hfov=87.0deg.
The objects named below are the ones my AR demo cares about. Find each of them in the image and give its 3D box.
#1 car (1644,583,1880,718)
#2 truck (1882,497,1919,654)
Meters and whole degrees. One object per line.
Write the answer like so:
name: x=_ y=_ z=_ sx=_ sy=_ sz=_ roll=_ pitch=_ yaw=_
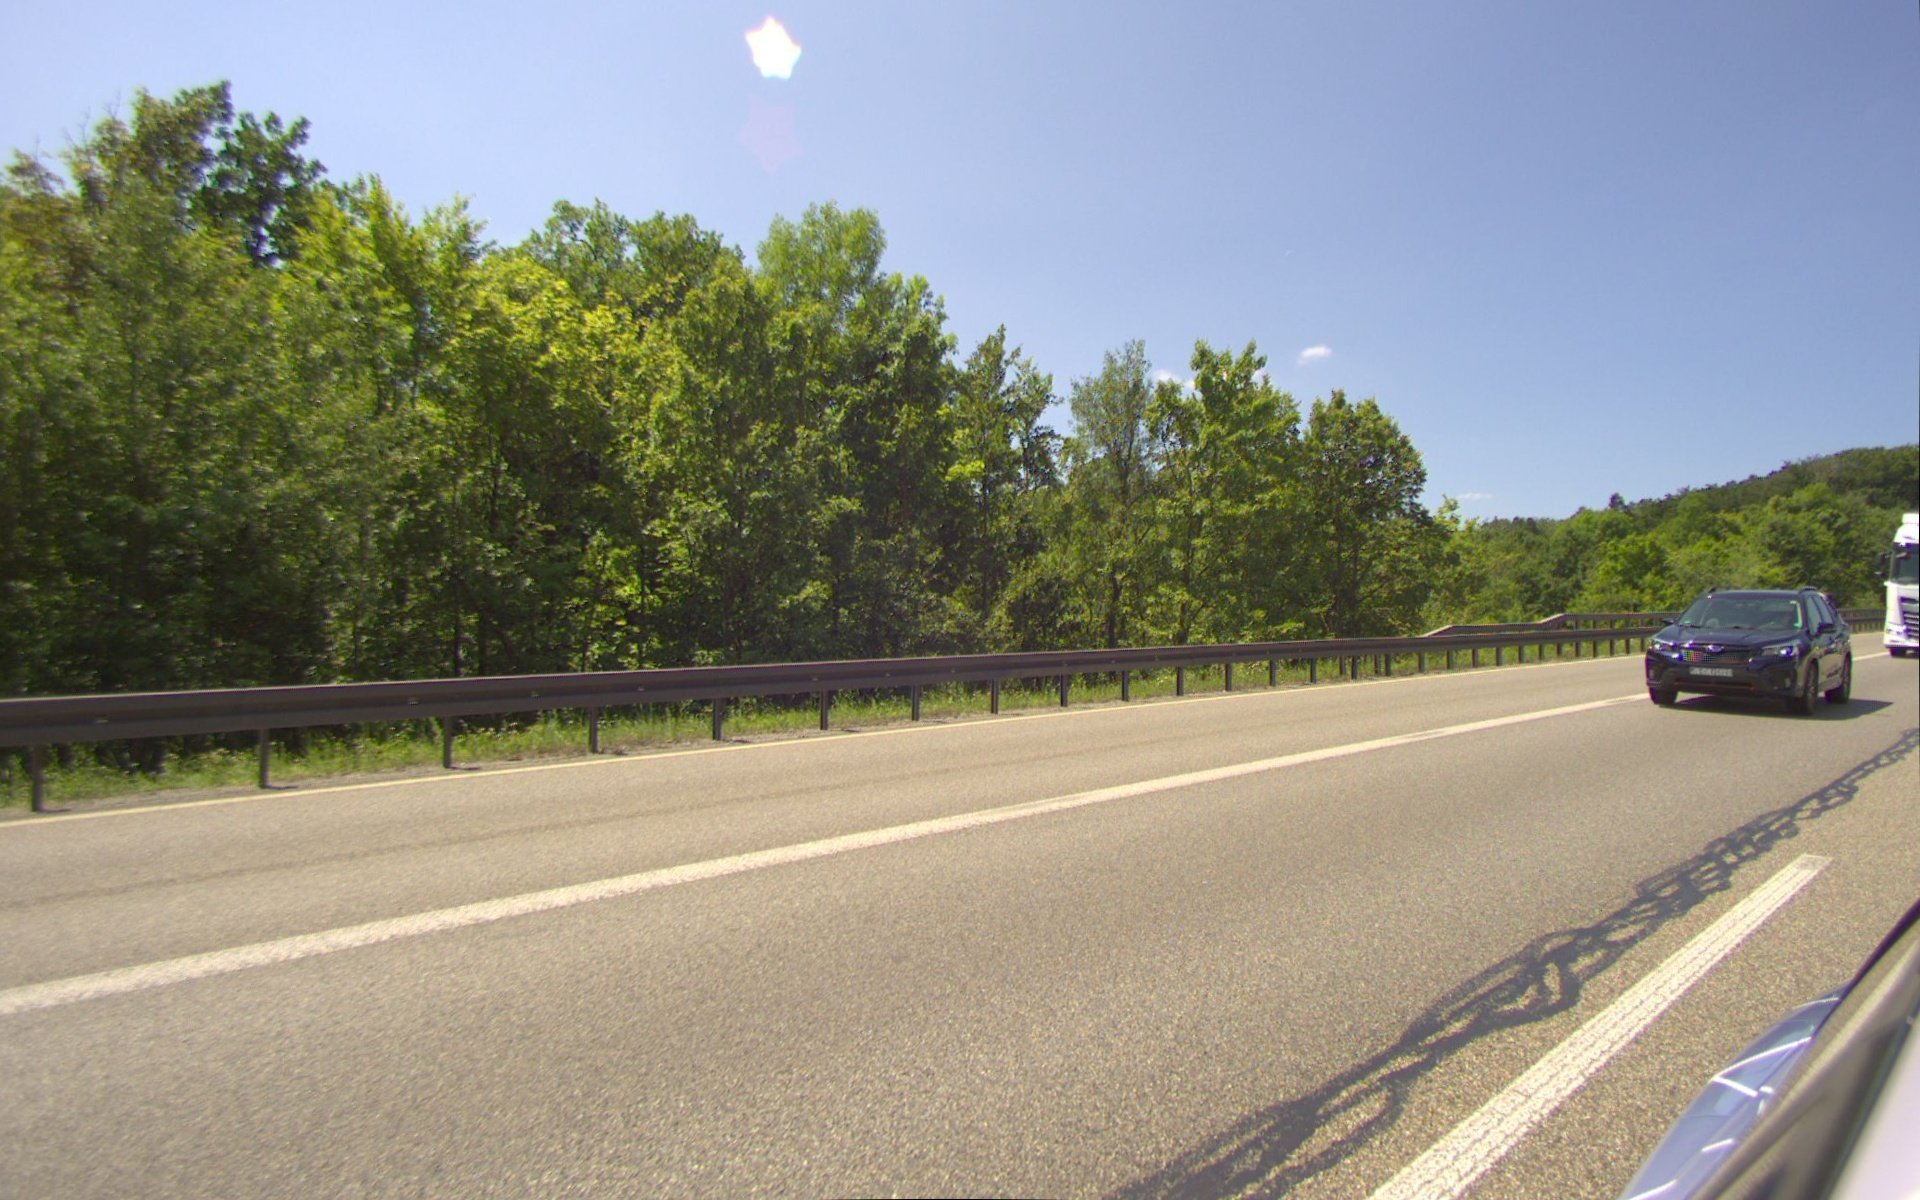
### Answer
car: x=11.717 y=0.602 z=14.699 sx=4.127 sy=1.688 sz=1.816 roll=-1 pitch=1 yaw=-39
truck: x=32.470 y=-0.737 z=31.748 sx=15.974 sy=4.221 sz=2.790 roll=-1 pitch=1 yaw=-39
